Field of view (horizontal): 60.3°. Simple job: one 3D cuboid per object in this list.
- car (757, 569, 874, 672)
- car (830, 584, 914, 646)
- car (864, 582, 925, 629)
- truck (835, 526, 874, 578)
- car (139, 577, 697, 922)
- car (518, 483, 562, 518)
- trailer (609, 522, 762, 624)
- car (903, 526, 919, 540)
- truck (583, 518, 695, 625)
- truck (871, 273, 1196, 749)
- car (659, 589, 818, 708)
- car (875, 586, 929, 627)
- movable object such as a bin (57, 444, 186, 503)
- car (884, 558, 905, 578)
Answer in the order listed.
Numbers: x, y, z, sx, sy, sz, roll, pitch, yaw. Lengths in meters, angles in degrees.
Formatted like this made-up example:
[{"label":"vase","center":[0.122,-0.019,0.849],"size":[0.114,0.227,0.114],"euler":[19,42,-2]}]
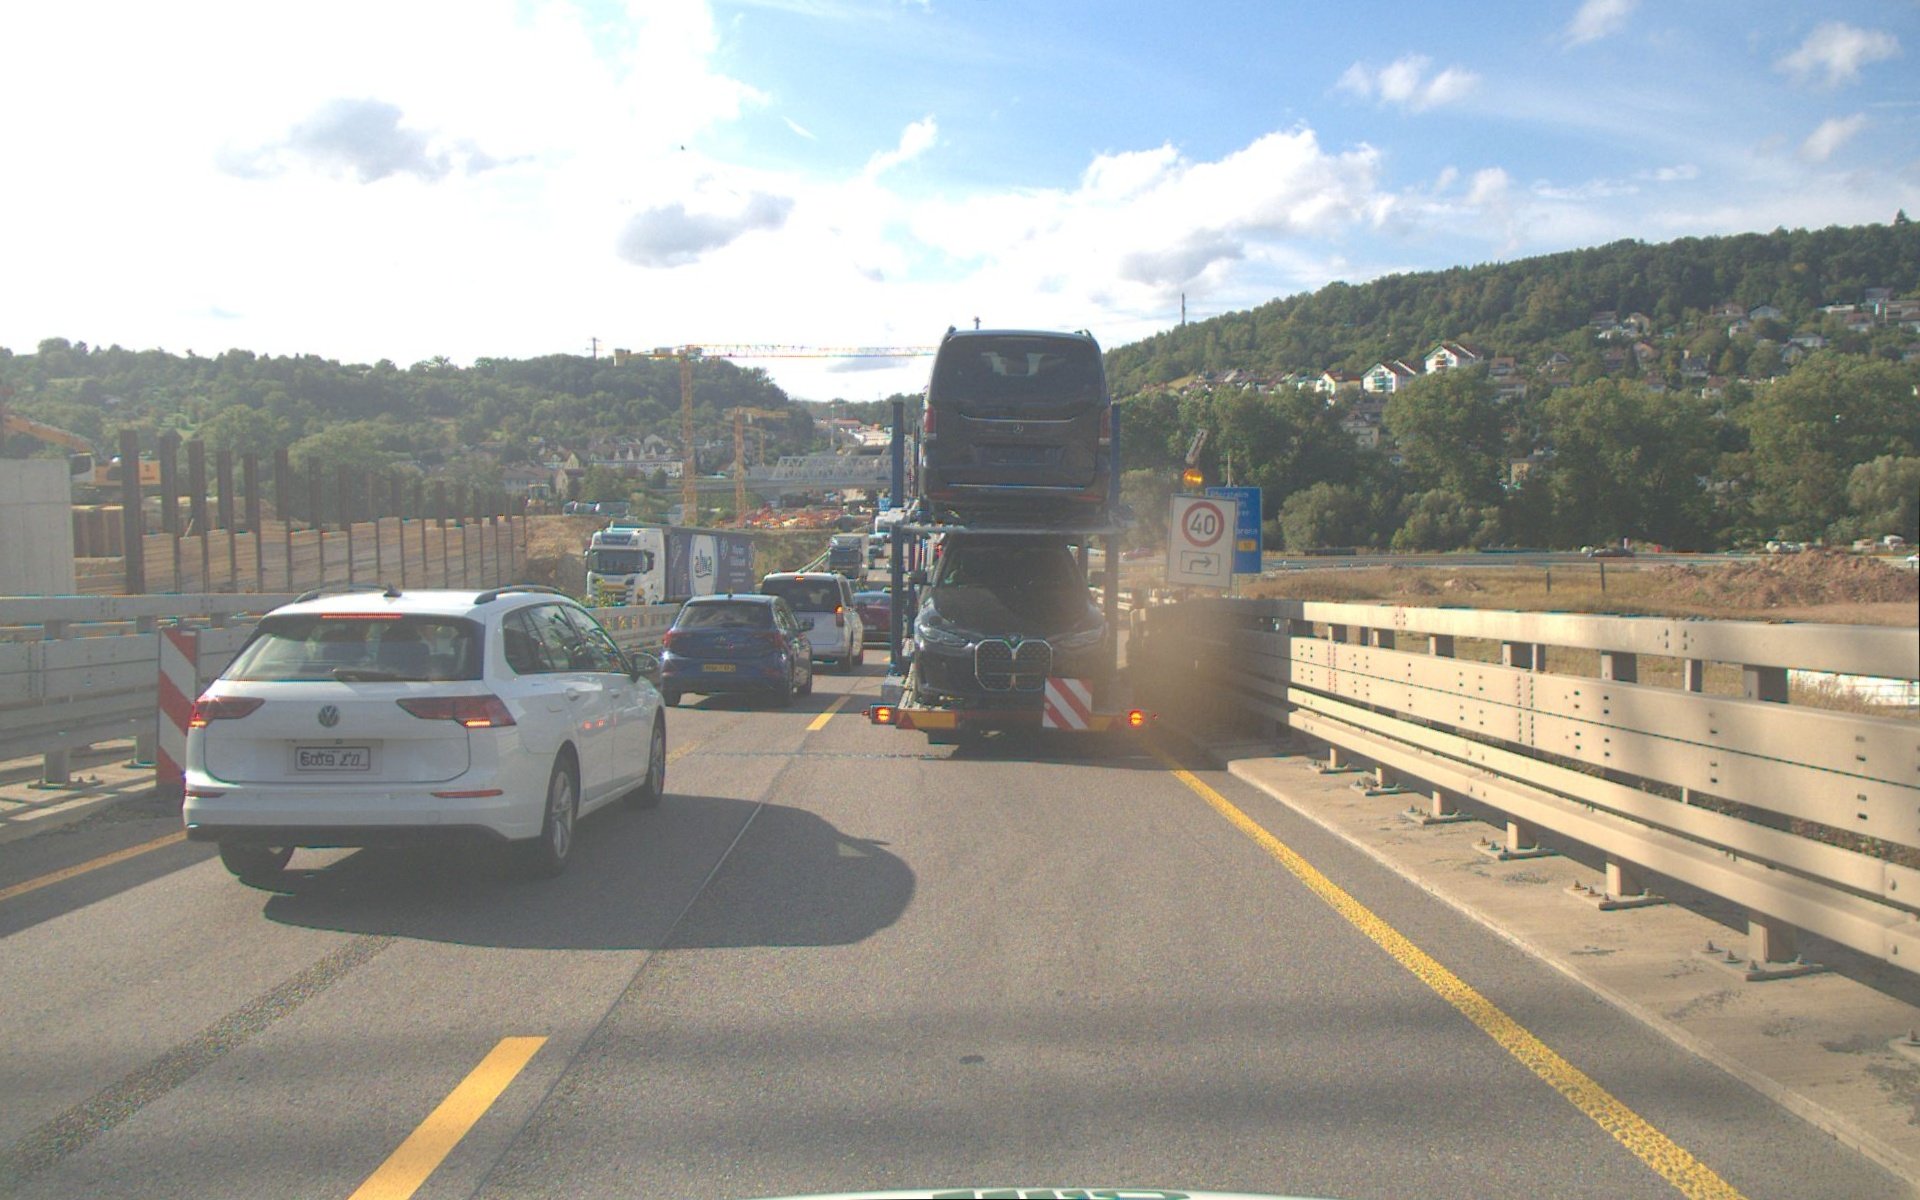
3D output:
[{"label":"car","center":[-2.697,0.376,31.703],"size":[1.785,1.823,4.000],"euler":[1,0,1]},{"label":"car","center":[-2.358,0.402,45.207],"size":[1.952,1.584,4.401],"euler":[1,0,1]},{"label":"car","center":[-2.274,0.205,58.176],"size":[1.952,1.579,4.000],"euler":[1,0,0]},{"label":"truck","center":[-8.385,-3.757,130.428],"size":[2.724,3.855,6.009],"euler":[1,0,-7]},{"label":"car","center":[-2.788,0.652,9.671],"size":[1.733,1.517,4.517],"euler":[-1,0,0]},{"label":"car","center":[-32.416,-7.638,127.685],"size":[1.953,2.177,5.320],"euler":[-4,0,-1]},{"label":"trailer","center":[-12.192,-1.066,75.308],"size":[2.630,4.228,13.823],"euler":[1,0,9]},{"label":"car","center":[-6.689,-9.097,225.032],"size":[2.083,1.703,4.270],"euler":[-1,1,-3]},{"label":"truck","center":[-13.229,-1.118,68.679],"size":[2.654,4.210,5.975],"euler":[1,0,9]},{"label":"truck","center":[0.527,-0.713,23.695],"size":[2.697,4.024,18.885],"euler":[2,0,-1]},{"label":"car","center":[-2.933,0.594,22.627],"size":[1.687,1.447,3.999],"euler":[1,0,-1]},{"label":"car","center":[-2.303,0.273,66.991],"size":[1.952,1.579,4.000],"euler":[1,0,1]},{"label":"movable object such as a bin","center":[-52.891,-7.952,104.464],"size":[5.623,3.328,4.514],"euler":[1,0,12]},{"label":"car","center":[-6.343,-3.089,159.647],"size":[1.954,1.757,4.119],"euler":[1,0,-4]}]
